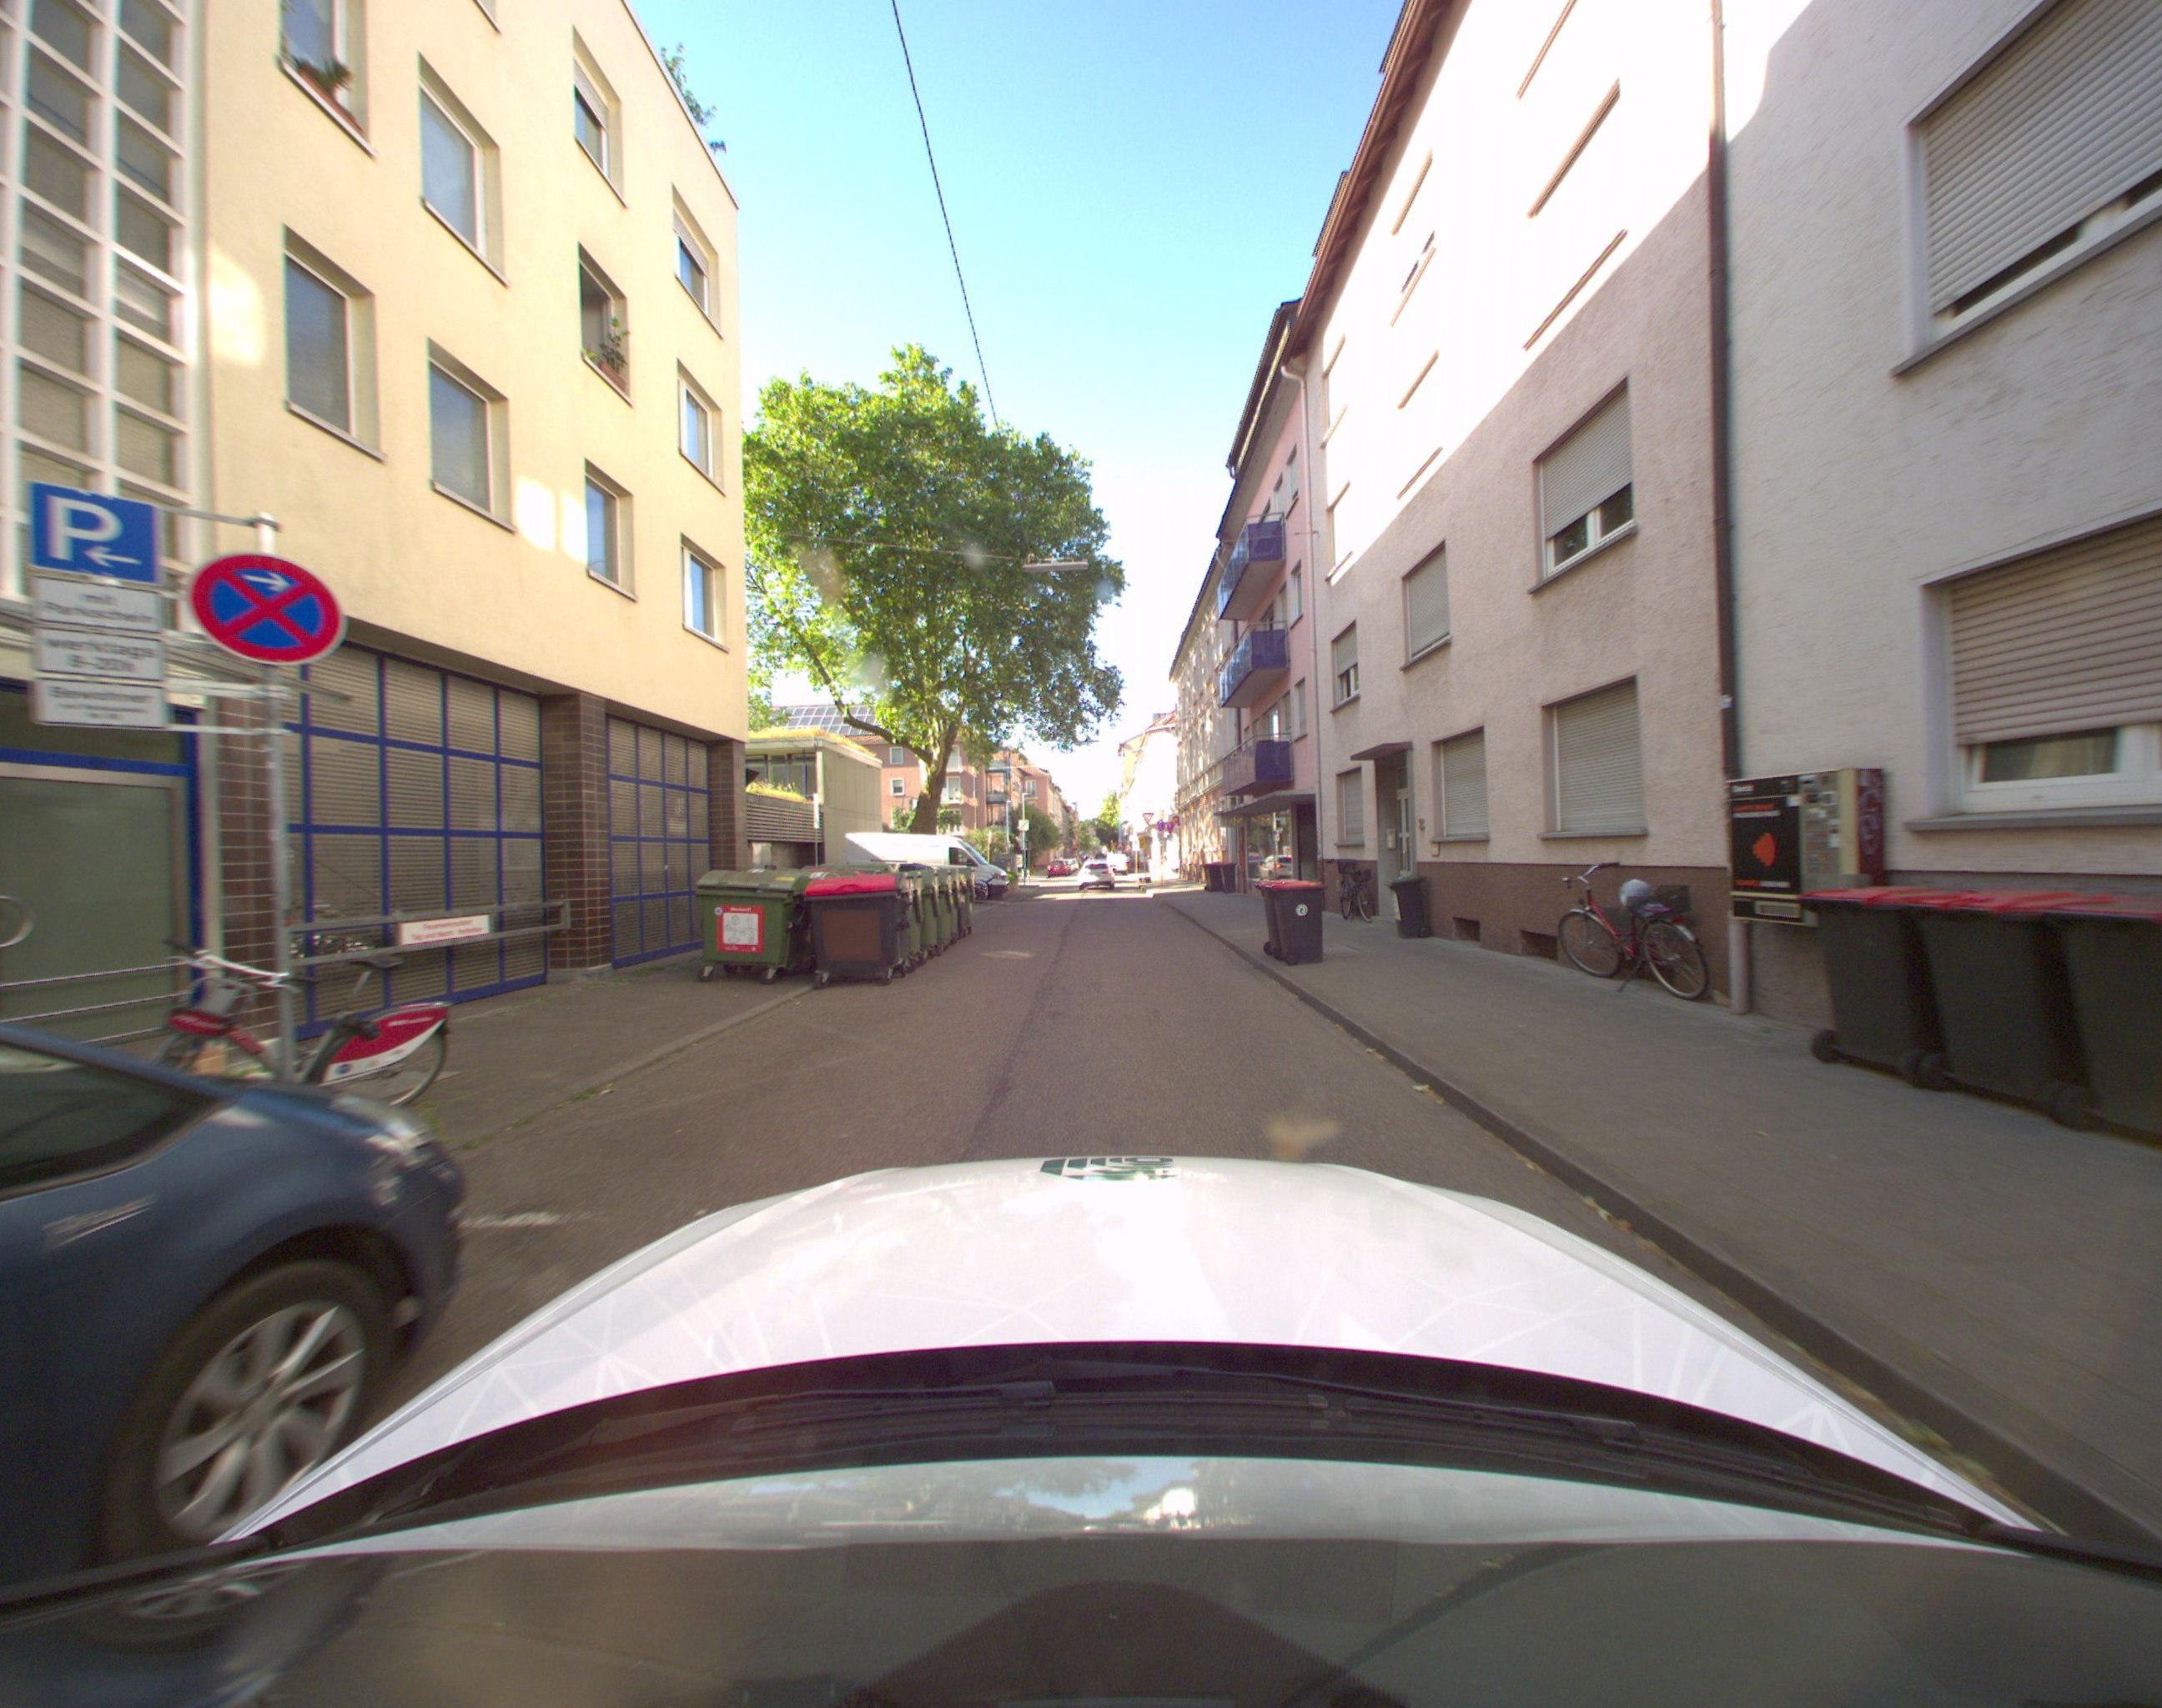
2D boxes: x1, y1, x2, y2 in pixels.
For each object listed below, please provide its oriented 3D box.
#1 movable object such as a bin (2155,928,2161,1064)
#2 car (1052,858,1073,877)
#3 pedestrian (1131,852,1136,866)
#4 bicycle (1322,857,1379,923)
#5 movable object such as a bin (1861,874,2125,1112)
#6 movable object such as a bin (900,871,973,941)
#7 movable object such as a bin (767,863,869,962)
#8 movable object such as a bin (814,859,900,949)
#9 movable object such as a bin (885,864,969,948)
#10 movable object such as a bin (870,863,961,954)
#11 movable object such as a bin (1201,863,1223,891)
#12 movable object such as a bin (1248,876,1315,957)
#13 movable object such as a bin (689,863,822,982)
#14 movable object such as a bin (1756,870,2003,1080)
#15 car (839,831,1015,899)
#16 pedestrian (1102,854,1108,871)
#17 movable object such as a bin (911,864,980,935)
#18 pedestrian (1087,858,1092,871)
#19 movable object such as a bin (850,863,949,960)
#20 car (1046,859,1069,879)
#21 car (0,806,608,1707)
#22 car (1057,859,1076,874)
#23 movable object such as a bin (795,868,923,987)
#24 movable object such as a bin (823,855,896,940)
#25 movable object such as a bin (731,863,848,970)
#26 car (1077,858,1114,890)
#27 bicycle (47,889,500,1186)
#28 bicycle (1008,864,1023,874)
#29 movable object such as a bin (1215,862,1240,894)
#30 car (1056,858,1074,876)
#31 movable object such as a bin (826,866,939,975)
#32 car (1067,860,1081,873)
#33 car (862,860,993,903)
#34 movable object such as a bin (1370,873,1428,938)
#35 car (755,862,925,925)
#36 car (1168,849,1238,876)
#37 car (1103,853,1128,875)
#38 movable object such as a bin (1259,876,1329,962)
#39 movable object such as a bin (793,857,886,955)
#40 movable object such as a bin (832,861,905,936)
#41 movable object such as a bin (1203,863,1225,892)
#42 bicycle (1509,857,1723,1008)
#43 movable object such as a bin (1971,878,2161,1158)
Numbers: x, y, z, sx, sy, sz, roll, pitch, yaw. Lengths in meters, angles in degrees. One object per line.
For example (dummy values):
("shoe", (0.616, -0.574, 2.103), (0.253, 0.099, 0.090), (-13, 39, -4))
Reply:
("movable object such as a bin", (4.669, 0.759, 2.994), (0.603, 0.934, 0.605), (-2, -1, 2))
("car", (-1.705, 1.242, 76.011), (1.714, 1.683, 3.727), (-2, -1, 2))
("pedestrian", (6.638, 0.623, 103.102), (0.615, 1.733, 0.560), (-2, -1, 0))
("bicycle", (4.994, 0.638, 15.198), (0.451, 1.134, 1.921), (-4, -1, 3))
("movable object such as a bin", (4.643, 0.672, 4.191), (0.654, 1.105, 0.593), (-2, -1, 2))
("movable object such as a bin", (-2.884, 1.026, 16.410), (1.236, 1.322, 1.046), (-1, -1, 1))
("movable object such as a bin", (-4.246, 0.919, 13.252), (1.297, 1.522, 1.018), (-1, -1, 1))
("movable object such as a bin", (-4.191, 0.910, 15.319), (1.284, 1.604, 1.082), (-1, -1, 1))
("movable object such as a bin", (-2.863, 0.953, 15.320), (1.330, 1.491, 1.082), (-1, -1, 1))
("movable object such as a bin", (-2.869, 0.928, 14.252), (1.338, 1.499, 1.018), (-1, -1, 1))
("movable object such as a bin", (5.065, 0.887, 31.587), (0.742, 1.086, 0.635), (-2, -1, 3))
("movable object such as a bin", (2.814, 0.864, 11.507), (0.765, 1.086, 0.693), (-2, -1, 2))
("movable object such as a bin", (-4.355, 0.883, 11.018), (1.292, 1.498, 1.179), (-1, -1, 1))
("movable object such as a bin", (4.641, 0.670, 4.786), (0.736, 1.097, 0.640), (-4, -1, 2))
("car", (-6.265, 0.448, 33.702), (6.712, 2.555, 2.147), (1, -1, 2))
("pedestrian", (3.038, 1.102, 103.577), (0.768, 2.118, 0.835), (-2, -1, 2))
("movable object such as a bin", (-2.891, 0.954, 17.511), (1.297, 1.451, 1.116), (-1, -1, -3))
("pedestrian", (1.138, 1.478, 111.157), (0.645, 1.797, 0.639), (-2, -1, 2))
("movable object such as a bin", (-2.911, 0.908, 13.216), (1.344, 1.487, 1.003), (-1, -1, 1))
("car", (-2.019, 1.244, 70.414), (1.764, 1.589, 3.726), (-2, 0, 1))
("car", (-2.773, 0.790, 0.756), (1.776, 1.667, 4.671), (-3, 0, 1))
("car", (-1.551, 1.381, 88.311), (1.714, 1.576, 3.727), (-2, -1, 2))
("movable object such as a bin", (-2.955, 0.955, 10.997), (1.315, 1.450, 1.187), (-3, -1, 1))
("movable object such as a bin", (-4.488, 0.864, 16.592), (1.225, 1.653, 1.172), (-1, -1, -5))
("movable object such as a bin", (-4.320, 0.900, 12.176), (1.301, 1.499, 1.157), (-1, -1, 1))
("car", (0.769, 1.025, 42.995), (1.817, 1.514, 3.823), (-2, 0, 0))
("bicycle", (-4.407, 0.880, 4.701), (0.462, 1.332, 1.859), (2, -2, 9))
("bicycle", (-6.580, 1.531, 81.751), (0.607, 0.932, 1.895), (-1, -1, -32))
("movable object such as a bin", (5.212, 0.856, 29.007), (0.727, 1.104, 0.692), (-2, -1, -1))
("car", (-1.584, 1.302, 81.525), (1.629, 1.656, 3.786), (-2, -1, 2))
("movable object such as a bin", (-2.925, 0.957, 12.171), (1.329, 1.484, 1.093), (-3, -1, 1))
("car", (-0.892, 1.594, 102.626), (1.566, 1.585, 3.612), (-2, -1, 2))
("car", (-5.758, 1.025, 30.888), (4.482, 1.471, 1.930), (1, 0, 2))
("movable object such as a bin", (4.851, 0.773, 12.458), (0.595, 0.951, 0.682), (-2, -1, 2))
("car", (-6.180, 1.004, 21.198), (3.863, 1.505, 1.826), (-1, -1, 0))
("car", (9.321, 0.711, 62.187), (4.845, 1.929, 2.011), (-1, -3, 25))
("car", (3.101, 0.874, 73.580), (1.937, 1.948, 4.076), (-1, -1, -1))
("movable object such as a bin", (2.805, 0.845, 10.794), (0.729, 1.081, 0.704), (-2, -1, 2))
("movable object such as a bin", (-4.198, 0.884, 14.255), (1.290, 1.620, 1.018), (-1, -1, 1))
("movable object such as a bin", (-4.600, 0.938, 17.751), (1.350, 1.549, 1.118), (-1, -1, -5))
("movable object such as a bin", (5.050, 0.884, 30.955), (0.699, 1.073, 0.597), (-2, -1, 3))
("bicycle", (4.843, 0.634, 7.579), (0.535, 1.170, 2.076), (-6, 0, 1))
("movable object such as a bin", (4.617, 0.681, 3.629), (0.625, 1.122, 0.569), (-2, -1, 2))
